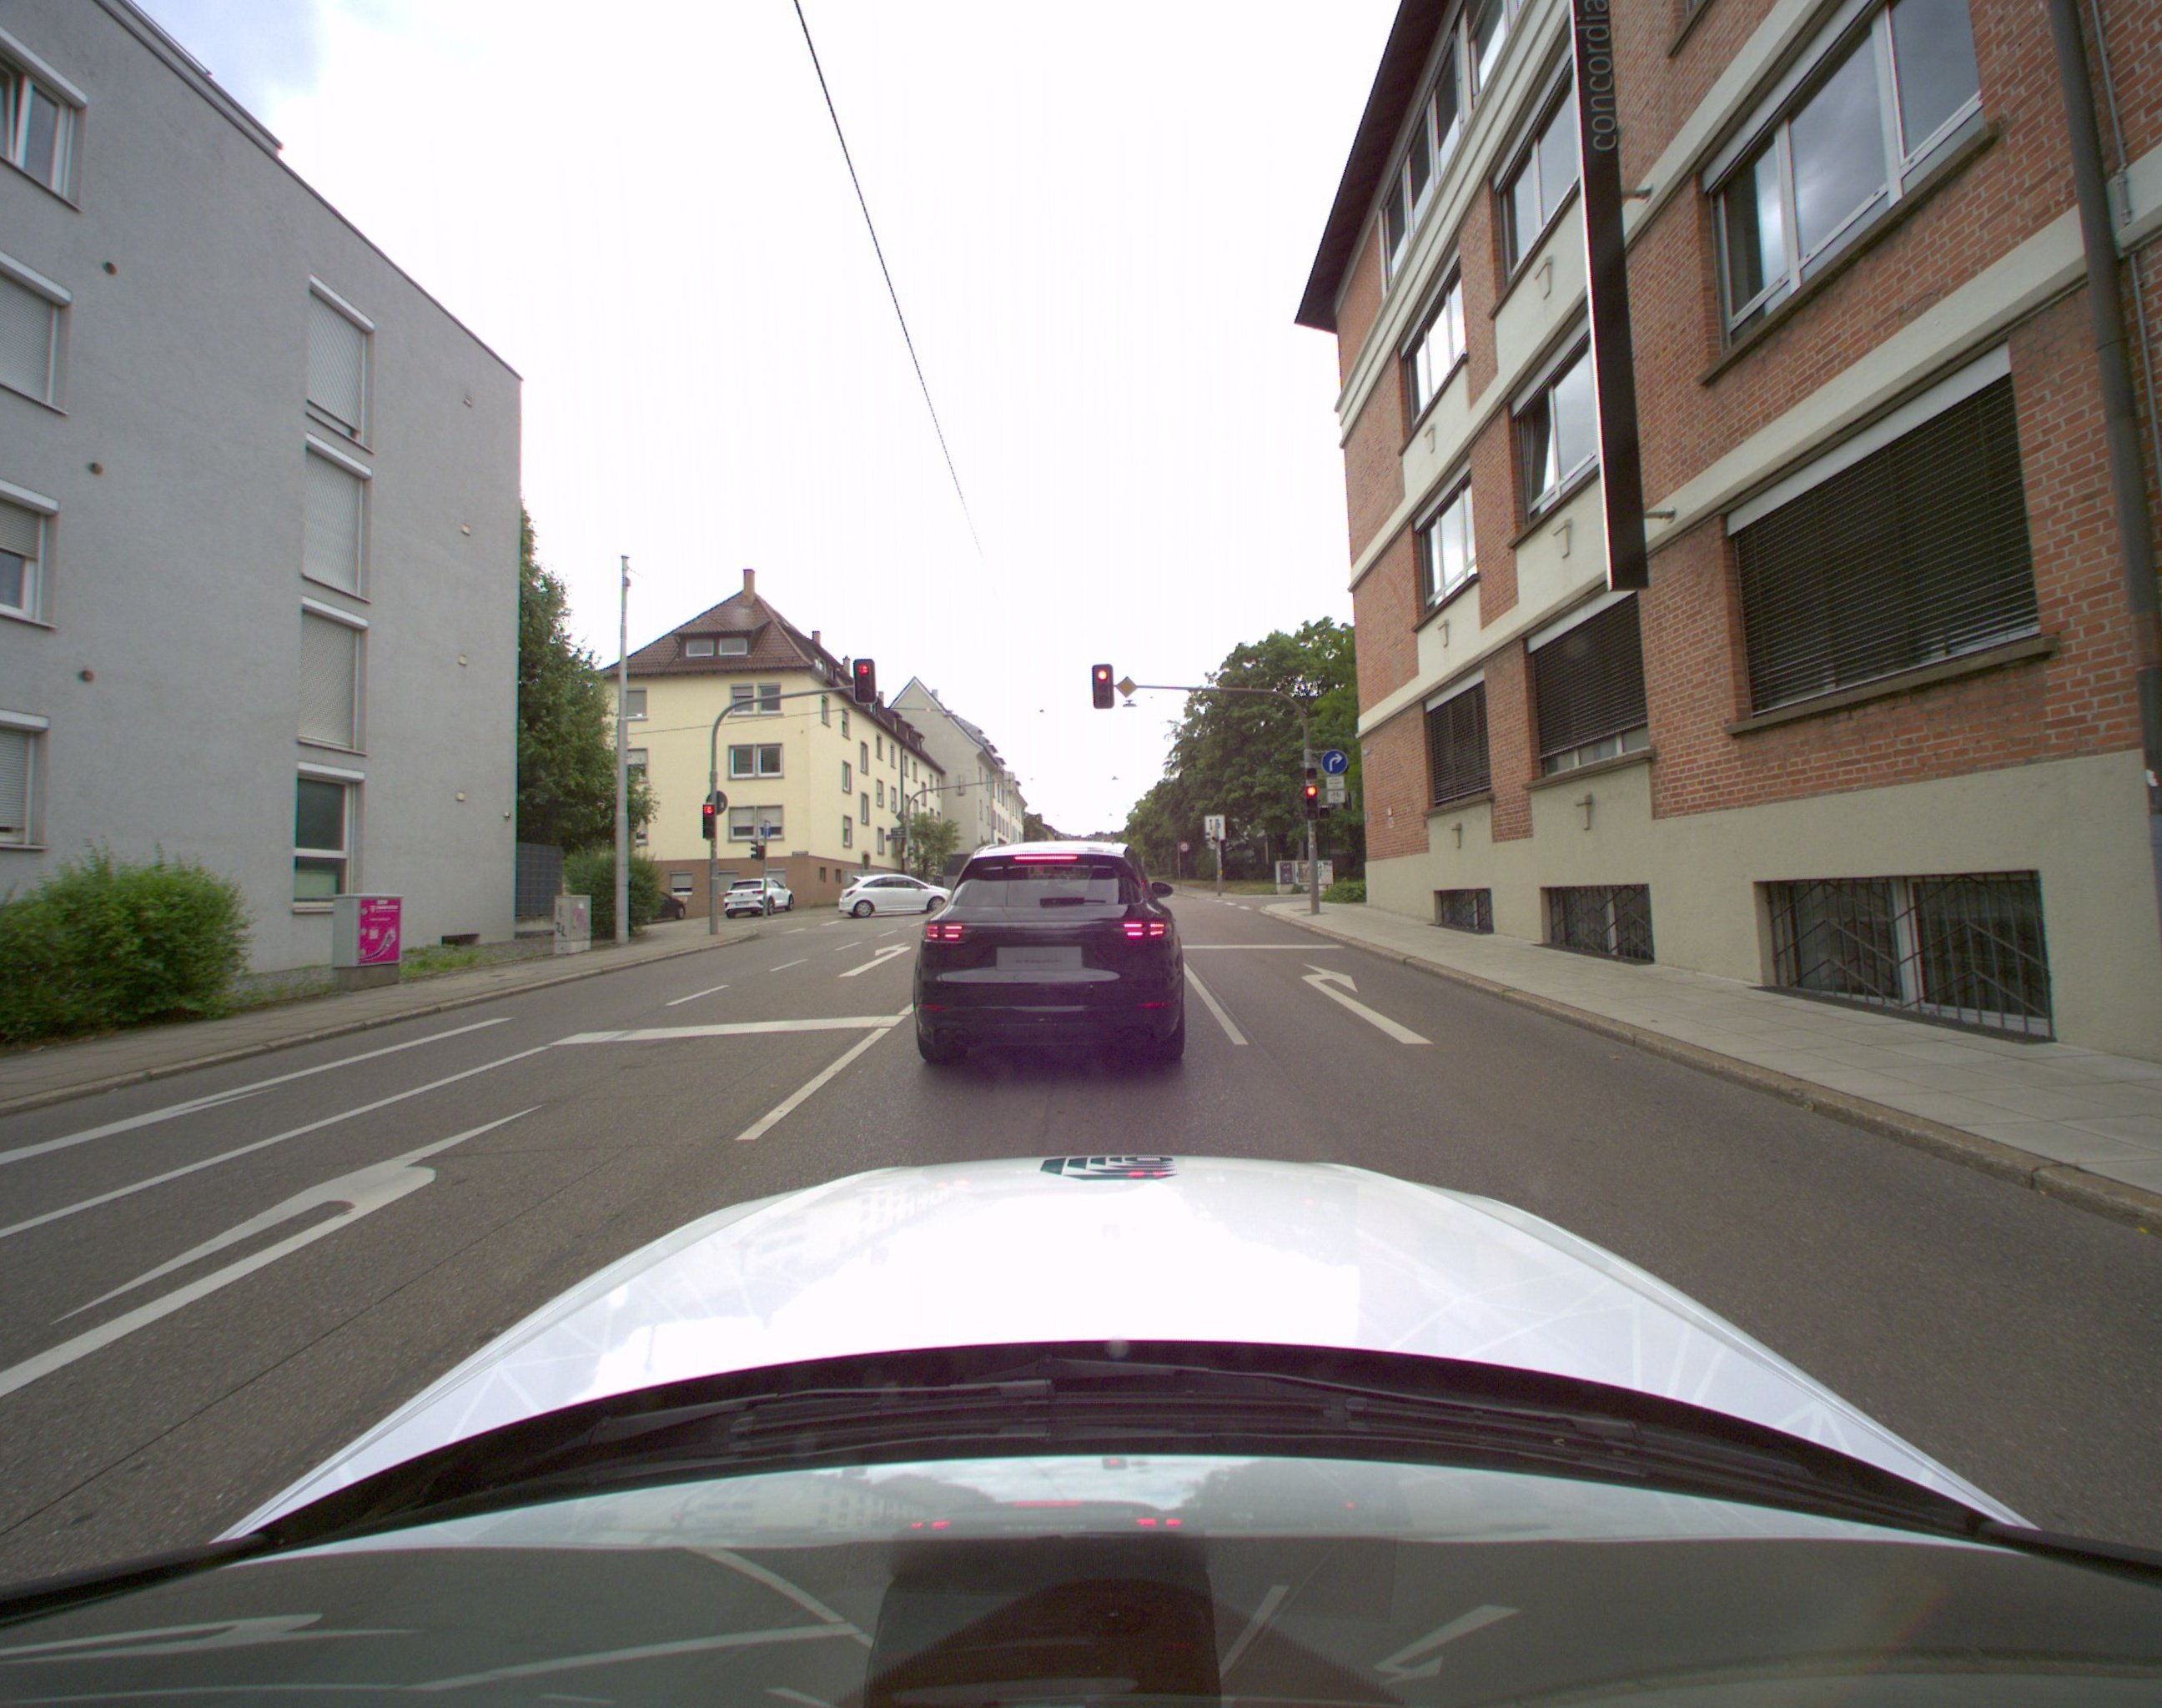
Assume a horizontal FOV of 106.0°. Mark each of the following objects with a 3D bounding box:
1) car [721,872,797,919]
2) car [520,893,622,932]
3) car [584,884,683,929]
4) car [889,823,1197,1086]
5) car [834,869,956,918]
[{"bbox_3d":[-13.505,1.699,34.416,1.666,1.662,3.996,-4,0,-3],"label":"car"},{"bbox_3d":[-21.207,2.400,34.062,1.663,1.362,4.001,-1,-1,2],"label":"car"},{"bbox_3d":[-18.640,2.140,34.137,1.664,1.546,4.103,-5,-1,2],"label":"car"},{"bbox_3d":[-0.185,0.669,7.281,1.986,1.697,4.001,0,-1,2],"label":"car"},{"bbox_3d":[-6.471,1.320,28.360,3.895,1.552,1.679,0,-1,-26],"label":"car"}]
